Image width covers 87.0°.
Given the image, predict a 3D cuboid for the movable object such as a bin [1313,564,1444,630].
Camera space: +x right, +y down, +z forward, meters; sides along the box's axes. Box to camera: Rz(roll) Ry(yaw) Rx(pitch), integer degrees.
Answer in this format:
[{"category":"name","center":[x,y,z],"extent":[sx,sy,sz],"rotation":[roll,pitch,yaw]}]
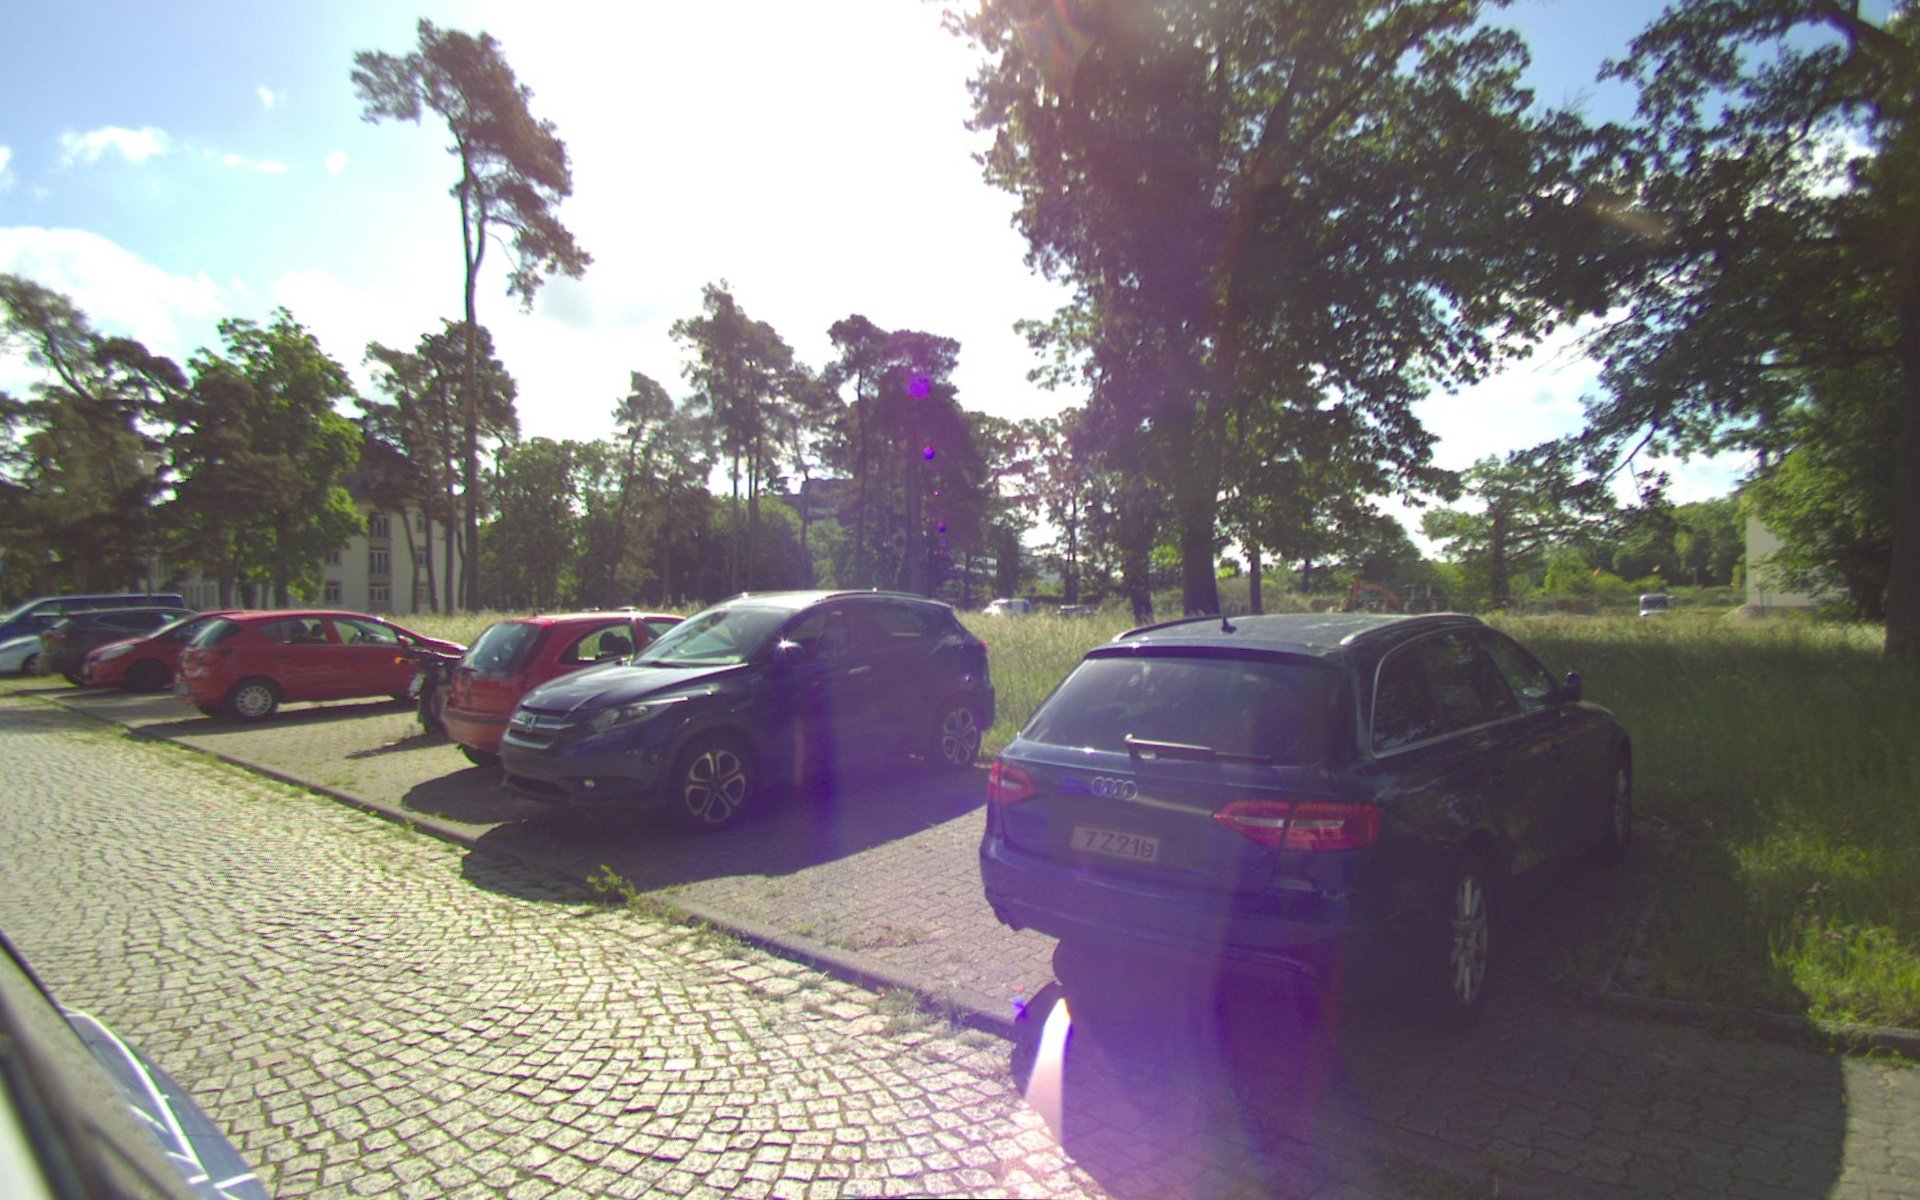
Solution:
[{"category":"movable object such as a bin","center":[24.753,-0.109,60.264],"extent":[6.732,3.759,3.910],"rotation":[0,-1,17]}]

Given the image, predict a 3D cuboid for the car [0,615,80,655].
[{"category":"car","center":[-37.717,1.384,39.508],"extent":[1.937,1.431,4.815],"rotation":[0,1,40]}]

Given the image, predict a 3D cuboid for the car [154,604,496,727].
[{"category":"car","center":[-9.221,0.857,14.943],"extent":[1.840,1.472,3.885],"rotation":[-2,0,39]}]

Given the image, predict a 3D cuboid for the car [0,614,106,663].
[{"category":"car","center":[-30.252,1.251,32.535],"extent":[1.922,1.436,4.034],"rotation":[-1,1,41]}]

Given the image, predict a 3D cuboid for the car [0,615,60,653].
[{"category":"car","center":[-39.865,1.418,41.177],"extent":[1.981,1.463,4.539],"rotation":[0,1,37]}]

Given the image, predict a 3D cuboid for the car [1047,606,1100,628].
[{"category":"car","center":[8.506,1.259,75.728],"extent":[1.912,1.617,4.184],"rotation":[-1,-1,41]}]

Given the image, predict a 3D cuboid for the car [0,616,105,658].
[{"category":"car","center":[-35.665,1.396,38.310],"extent":[1.937,1.431,4.815],"rotation":[-1,1,40]}]

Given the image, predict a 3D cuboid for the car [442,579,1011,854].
[{"category":"car","center":[-1.593,0.665,8.051],"extent":[1.883,1.591,4.093],"rotation":[-2,0,40]}]

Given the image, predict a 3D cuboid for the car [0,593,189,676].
[{"category":"car","center":[-23.947,0.885,27.298],"extent":[2.004,1.982,4.670],"rotation":[-1,1,40]}]

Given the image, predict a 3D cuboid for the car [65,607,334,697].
[{"category":"car","center":[-14.894,0.948,19.988],"extent":[1.864,1.460,3.885],"rotation":[-2,1,39]}]

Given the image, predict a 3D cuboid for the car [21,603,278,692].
[{"category":"car","center":[-17.150,0.944,21.548],"extent":[1.972,1.579,3.915],"rotation":[-2,0,39]}]

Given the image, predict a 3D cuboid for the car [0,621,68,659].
[{"category":"car","center":[-34.434,1.457,36.183],"extent":[1.759,1.243,3.593],"rotation":[0,2,41]}]

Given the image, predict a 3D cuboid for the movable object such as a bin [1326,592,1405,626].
[{"category":"movable object such as a bin","center":[26.227,0.587,65.790],"extent":[2.490,2.141,5.684],"rotation":[0,-1,-4]}]

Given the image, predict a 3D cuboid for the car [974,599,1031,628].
[{"category":"car","center":[3.413,1.048,79.824],"extent":[1.956,2.180,4.795],"rotation":[-1,-1,41]}]

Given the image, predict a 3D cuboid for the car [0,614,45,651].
[{"category":"car","center":[-41.748,1.448,43.007],"extent":[1.946,1.494,3.988],"rotation":[-2,0,38]}]

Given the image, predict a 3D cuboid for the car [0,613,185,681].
[{"category":"car","center":[-22.102,1.124,25.490],"extent":[1.680,1.451,3.780],"rotation":[-1,1,37]}]

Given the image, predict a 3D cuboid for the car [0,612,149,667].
[{"category":"car","center":[-27.725,1.200,31.065],"extent":[1.822,1.486,4.154],"rotation":[-1,1,40]}]

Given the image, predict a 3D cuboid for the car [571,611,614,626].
[{"category":"car","center":[-40.118,2.027,110.552],"extent":[1.720,1.593,4.052],"rotation":[-1,-1,42]}]

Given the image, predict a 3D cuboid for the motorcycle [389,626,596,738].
[{"category":"motorcycle","center":[-5.602,0.934,12.266],"extent":[0.576,1.170,2.218],"rotation":[-1,0,41]}]

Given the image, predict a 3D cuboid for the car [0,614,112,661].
[{"category":"car","center":[-32.026,1.286,34.904],"extent":[1.821,1.463,4.034],"rotation":[0,1,41]}]

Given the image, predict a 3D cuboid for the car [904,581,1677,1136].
[{"category":"car","center":[1.957,0.673,4.924],"extent":[1.921,1.456,4.312],"rotation":[-2,0,43]}]

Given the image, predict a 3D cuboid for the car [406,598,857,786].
[{"category":"car","center":[-3.096,0.747,10.111],"extent":[1.841,1.443,3.882],"rotation":[-2,0,41]}]
